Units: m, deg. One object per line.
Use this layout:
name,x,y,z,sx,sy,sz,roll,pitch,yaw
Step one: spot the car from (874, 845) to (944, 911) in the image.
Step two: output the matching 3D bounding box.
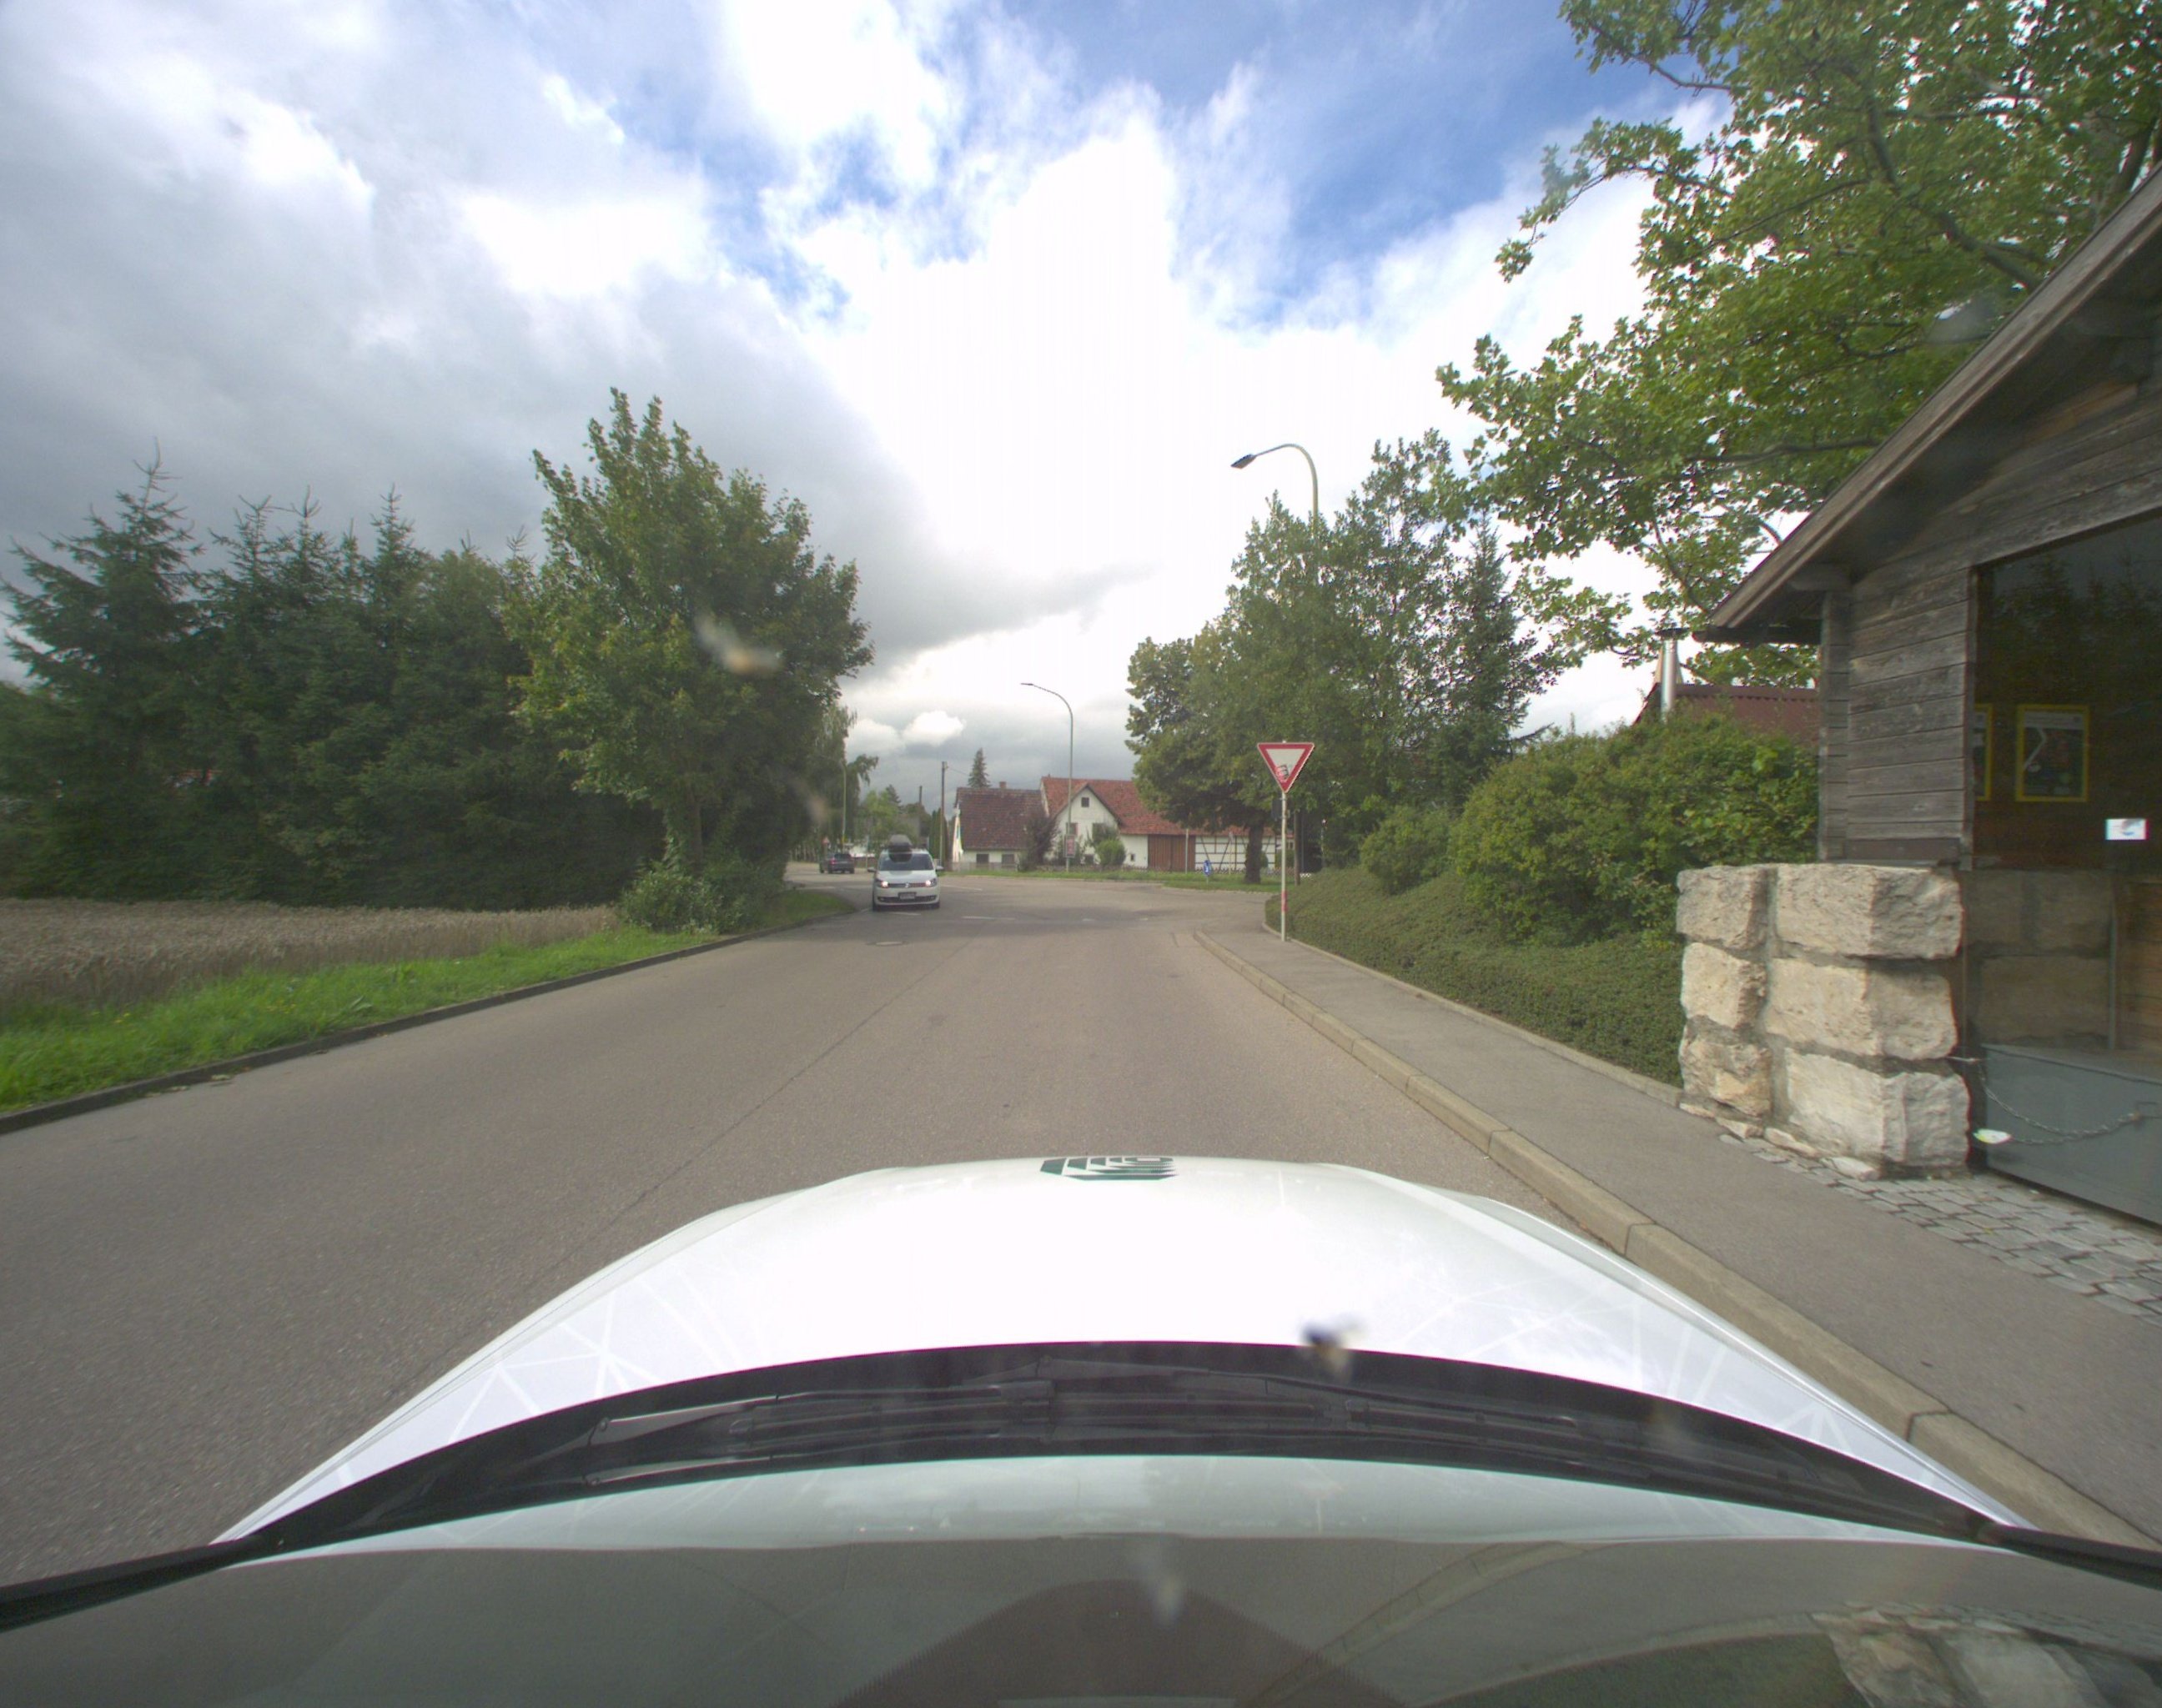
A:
car,-4.785,0.616,23.093,1.698,1.665,4.019,-1,0,-9

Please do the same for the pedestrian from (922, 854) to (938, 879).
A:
pedestrian,-10.380,0.839,55.944,0.794,1.665,0.705,6,-3,-32

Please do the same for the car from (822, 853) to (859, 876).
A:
car,-17.665,0.742,59.788,2.004,1.552,3.967,1,0,-26
